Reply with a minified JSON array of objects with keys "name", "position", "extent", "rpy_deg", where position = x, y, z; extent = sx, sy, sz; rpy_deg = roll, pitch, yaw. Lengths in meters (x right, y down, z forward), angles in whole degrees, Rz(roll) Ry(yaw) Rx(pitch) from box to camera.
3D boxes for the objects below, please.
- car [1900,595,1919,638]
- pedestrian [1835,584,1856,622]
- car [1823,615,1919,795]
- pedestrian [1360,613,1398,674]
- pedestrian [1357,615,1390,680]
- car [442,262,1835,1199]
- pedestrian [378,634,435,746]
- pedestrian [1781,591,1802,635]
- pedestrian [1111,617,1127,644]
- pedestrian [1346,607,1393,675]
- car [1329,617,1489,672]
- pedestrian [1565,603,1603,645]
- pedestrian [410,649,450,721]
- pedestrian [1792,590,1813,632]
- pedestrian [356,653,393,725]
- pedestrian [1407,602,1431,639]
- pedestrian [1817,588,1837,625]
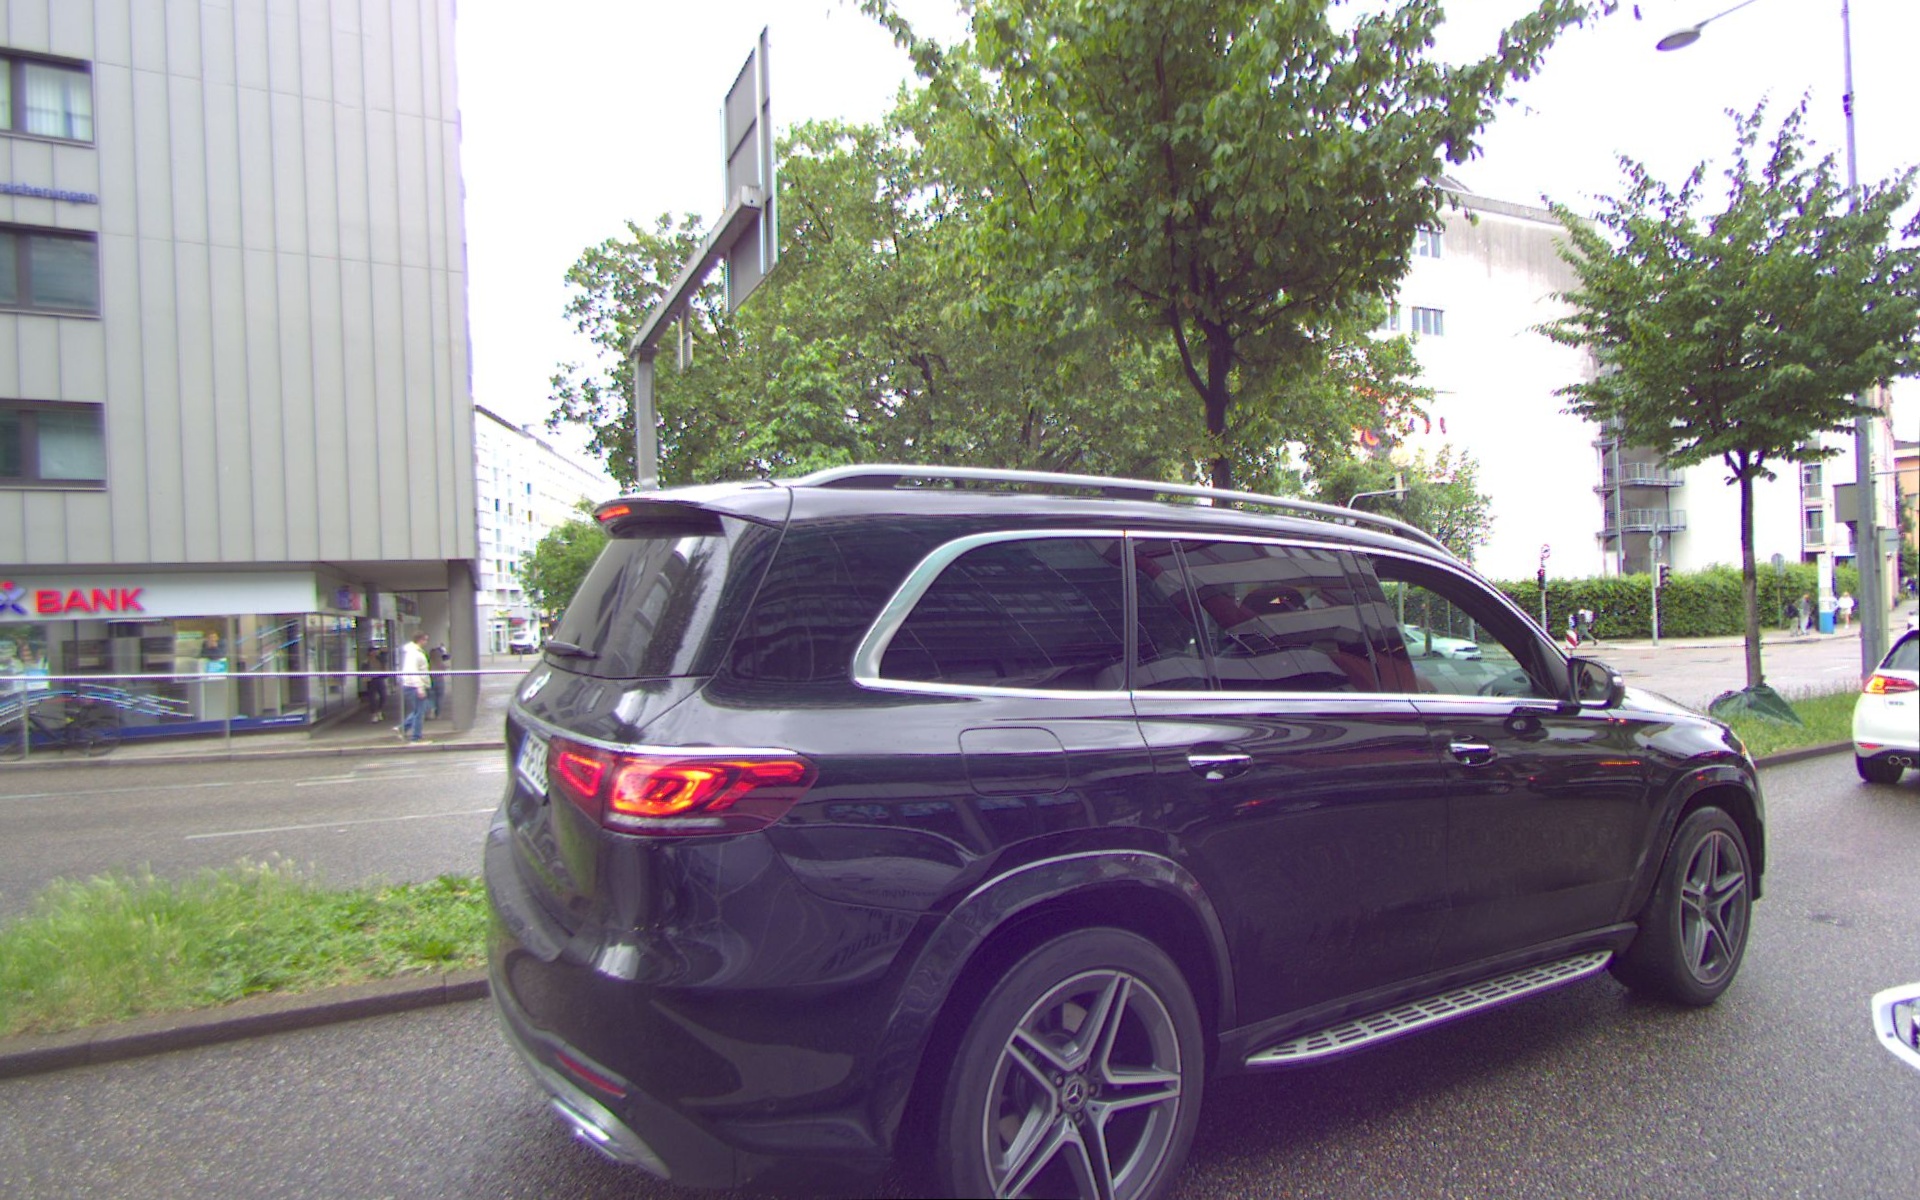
[{"name":"car","position":[35.005,0.563,35.688],"extent":[3.571,1.506,1.565],"rpy_deg":[0,1,-33]},{"name":"pedestrian","position":[42.116,0.149,47.783],"extent":[0.651,1.751,0.591],"rpy_deg":[2,-1,-38]},{"name":"car","position":[9.546,0.873,8.971],"extent":[3.800,1.448,1.768],"rpy_deg":[0,0,-32]},{"name":"pedestrian","position":[11.968,1.230,28.668],"extent":[0.620,1.684,0.749],"rpy_deg":[-2,0,-30]},{"name":"pedestrian","position":[10.847,1.234,26.345],"extent":[0.572,1.684,0.554],"rpy_deg":[-2,0,-30]},{"name":"car","position":[1.004,0.511,3.690],"extent":[5.016,1.895,1.901],"rpy_deg":[3,-1,-31]},{"name":"pedestrian","position":[-8.782,1.415,15.935],"extent":[0.717,1.704,0.587],"rpy_deg":[2,-1,-30]},{"name":"pedestrian","position":[34.840,0.545,42.086],"extent":[0.741,1.771,0.535],"rpy_deg":[2,-1,-38]},{"name":"pedestrian","position":[10.003,1.913,63.044],"extent":[0.723,1.664,0.635],"rpy_deg":[2,0,-23]},{"name":"pedestrian","position":[11.239,1.114,27.585],"extent":[0.702,1.807,0.917],"rpy_deg":[2,-1,-35]},{"name":"car","position":[13.823,1.316,31.090],"extent":[1.625,1.506,4.256],"rpy_deg":[0,1,-40]},{"name":"pedestrian","position":[24.472,0.922,39.396],"extent":[0.677,1.599,1.055],"rpy_deg":[2,-1,-34]},{"name":"pedestrian","position":[-13.021,2.067,24.686],"extent":[0.719,1.719,0.782],"rpy_deg":[2,-3,-37]},{"name":"pedestrian","position":[36.057,0.467,42.995],"extent":[0.559,1.771,0.535],"rpy_deg":[2,-1,-35]},{"name":"pedestrian","position":[-14.017,2.113,24.022],"extent":[0.630,1.659,0.782],"rpy_deg":[2,-1,-37]},{"name":"pedestrian","position":[21.079,0.956,46.119],"extent":[0.633,1.664,0.726],"rpy_deg":[2,-1,-37]},{"name":"pedestrian","position":[41.505,0.318,48.096],"extent":[0.651,1.751,0.591],"rpy_deg":[2,-1,-38]}]
